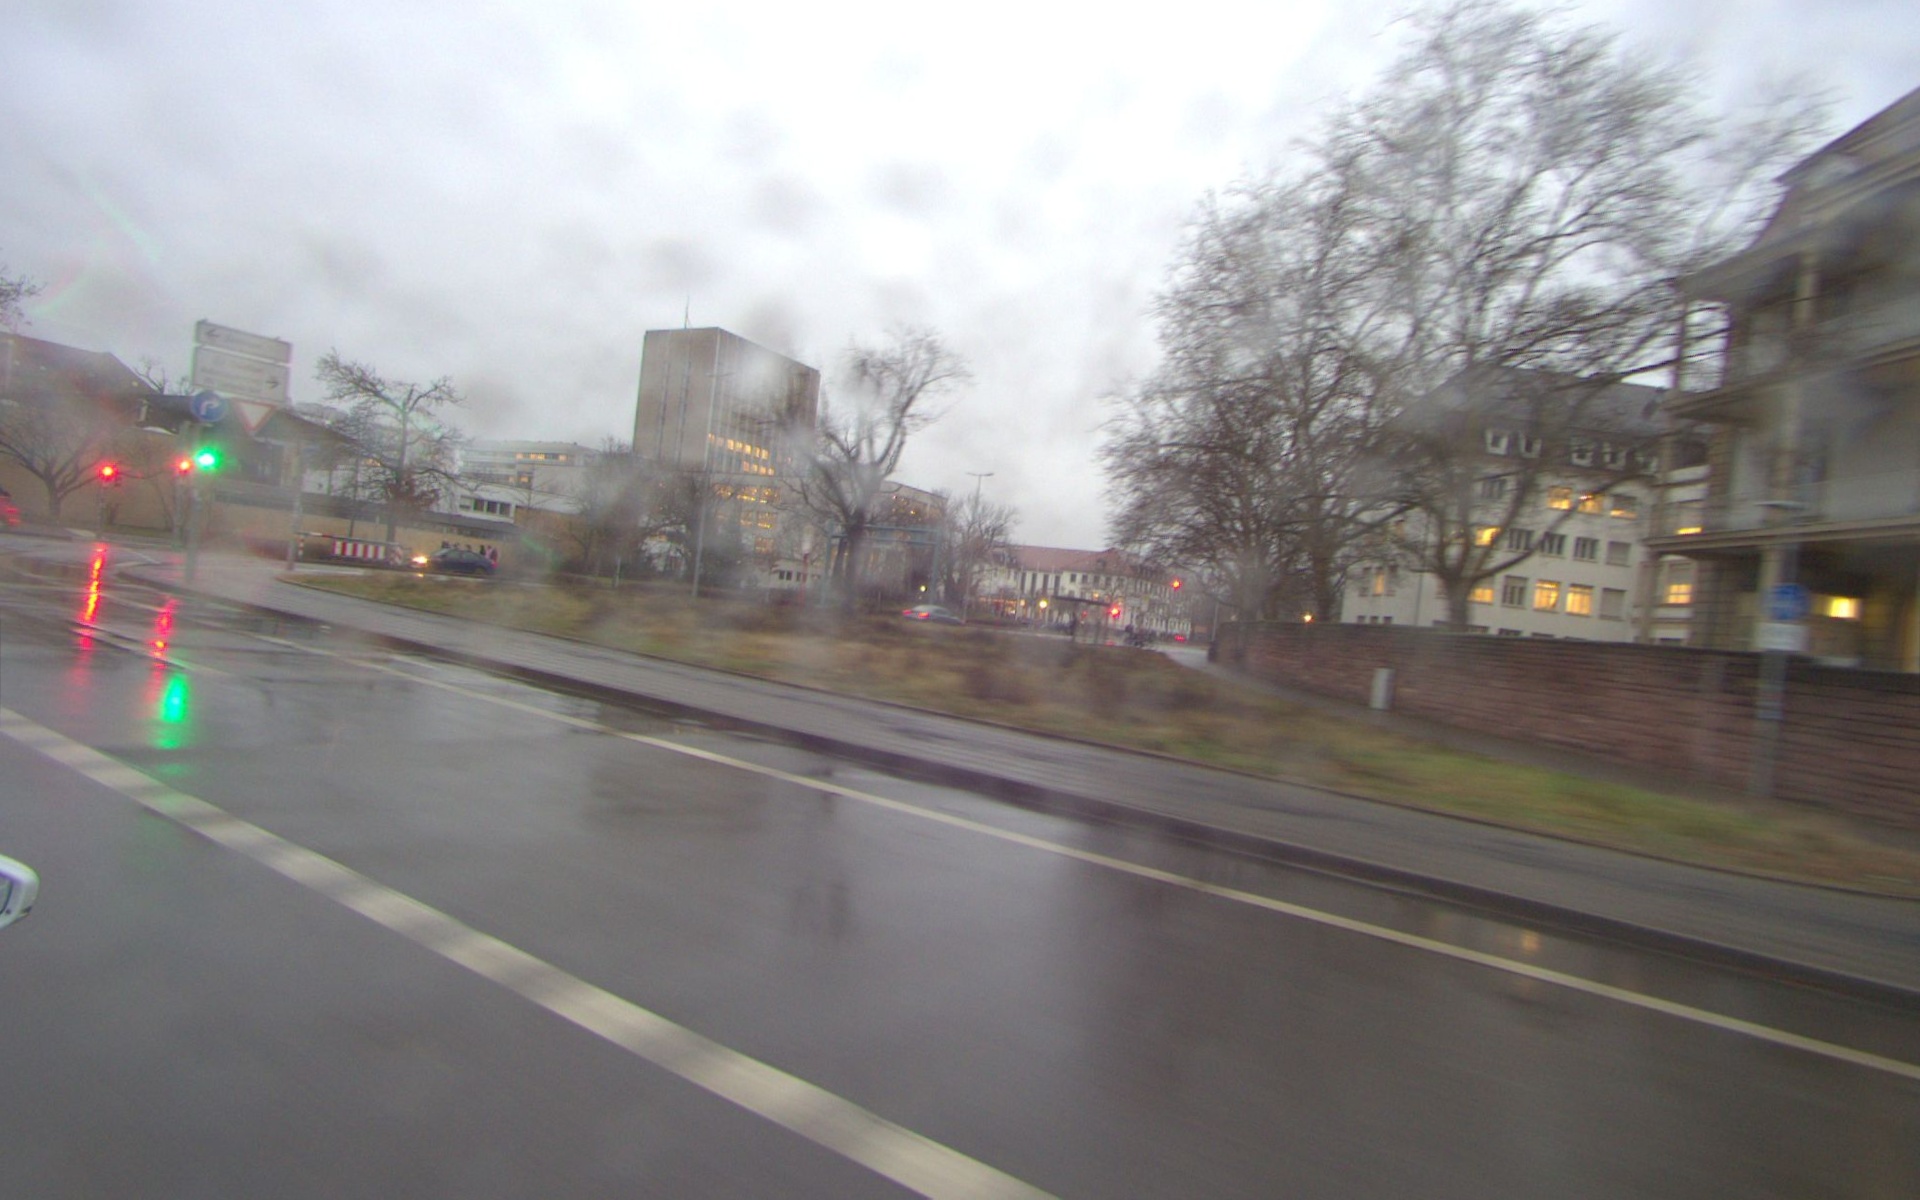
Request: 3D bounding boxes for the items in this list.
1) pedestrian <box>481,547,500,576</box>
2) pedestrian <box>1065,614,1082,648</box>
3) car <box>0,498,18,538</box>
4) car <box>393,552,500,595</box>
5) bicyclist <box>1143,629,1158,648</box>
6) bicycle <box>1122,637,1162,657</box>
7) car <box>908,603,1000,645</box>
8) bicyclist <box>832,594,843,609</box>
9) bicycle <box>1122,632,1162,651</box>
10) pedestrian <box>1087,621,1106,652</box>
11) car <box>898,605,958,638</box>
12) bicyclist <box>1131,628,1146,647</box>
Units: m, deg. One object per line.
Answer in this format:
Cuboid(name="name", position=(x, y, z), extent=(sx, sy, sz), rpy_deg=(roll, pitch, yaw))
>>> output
Cuboid(name="pedestrian", position=(-29.304, -2.418, 62.822), extent=(0.749, 1.745, 0.624), rpy_deg=(5, -2, 38))
Cuboid(name="pedestrian", position=(6.593, 1.826, 58.498), extent=(0.633, 1.857, 0.837), rpy_deg=(5, -2, 23))
Cuboid(name="car", position=(-37.181, -3.285, 36.802), extent=(1.544, 1.414, 3.784), rpy_deg=(4, -3, 43))
Cuboid(name="car", position=(-26.214, -1.349, 51.441), extent=(1.943, 1.598, 4.425), rpy_deg=(4, -3, 44))
Cuboid(name="bicyclist", position=(12.195, 2.464, 64.464), extent=(0.690, 1.092, 0.494), rpy_deg=(5, -2, 32))
Cuboid(name="bicycle", position=(11.575, 2.976, 64.033), extent=(2.373, 1.003, 0.479), rpy_deg=(5, -2, 31))
Cuboid(name="car", position=(-0.188, 0.780, 32.731), extent=(2.657, 0.989, 1.290), rpy_deg=(7, 1, -34))
Cuboid(name="bicyclist", position=(-11.010, 0.158, 90.318), extent=(0.599, 1.261, 0.698), rpy_deg=(5, -2, 39))
Cuboid(name="bicycle", position=(11.704, 2.675, 64.748), extent=(2.373, 1.003, 0.537), rpy_deg=(5, -2, 31))
Cuboid(name="pedestrian", position=(8.716, 2.313, 64.240), extent=(0.823, 1.857, 0.667), rpy_deg=(5, -2, 34))
Cuboid(name="car", position=(-1.968, 1.380, 63.429), extent=(1.860, 1.670, 3.637), rpy_deg=(5, -3, 35))
Cuboid(name="bicyclist", position=(11.377, 2.380, 64.179), extent=(0.690, 1.092, 0.494), rpy_deg=(5, -2, 32))
